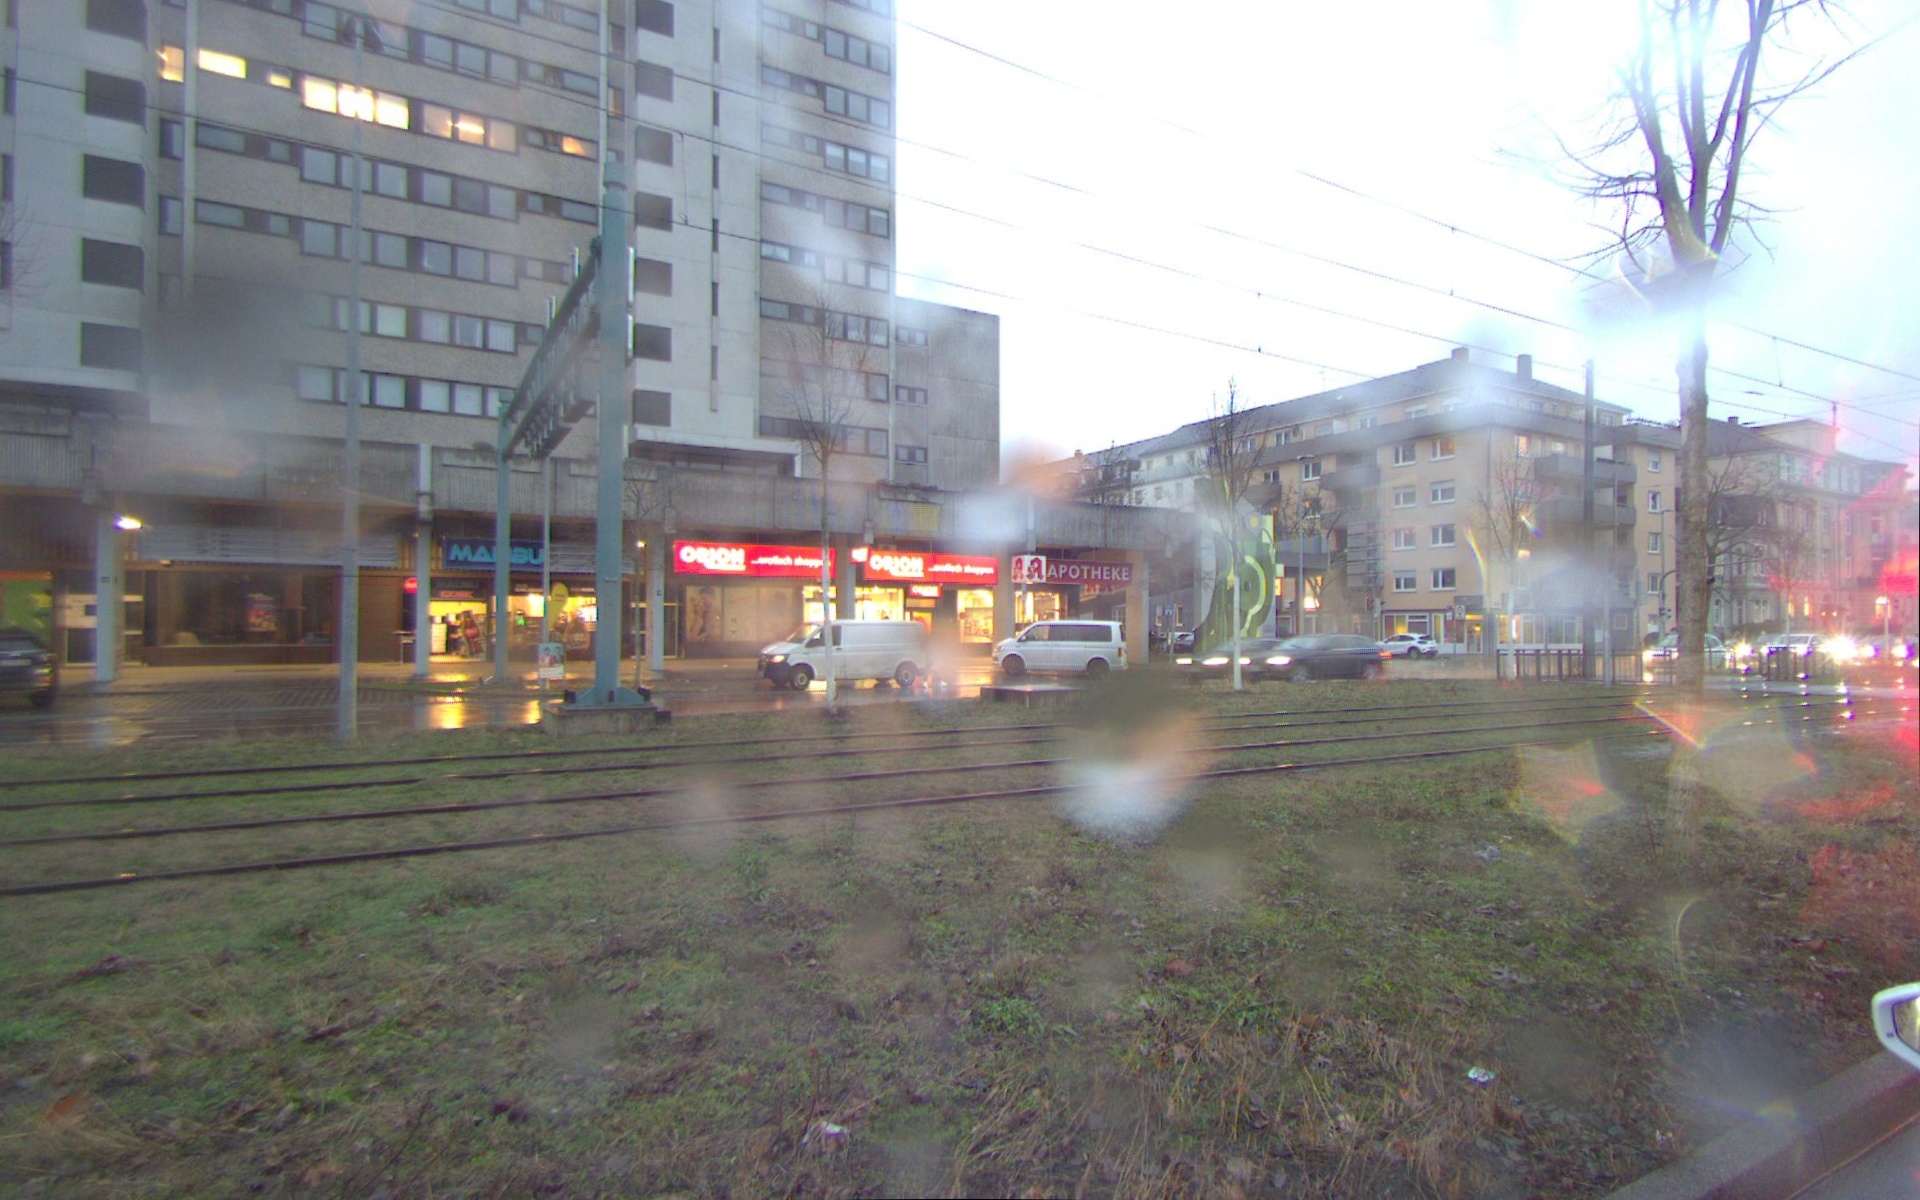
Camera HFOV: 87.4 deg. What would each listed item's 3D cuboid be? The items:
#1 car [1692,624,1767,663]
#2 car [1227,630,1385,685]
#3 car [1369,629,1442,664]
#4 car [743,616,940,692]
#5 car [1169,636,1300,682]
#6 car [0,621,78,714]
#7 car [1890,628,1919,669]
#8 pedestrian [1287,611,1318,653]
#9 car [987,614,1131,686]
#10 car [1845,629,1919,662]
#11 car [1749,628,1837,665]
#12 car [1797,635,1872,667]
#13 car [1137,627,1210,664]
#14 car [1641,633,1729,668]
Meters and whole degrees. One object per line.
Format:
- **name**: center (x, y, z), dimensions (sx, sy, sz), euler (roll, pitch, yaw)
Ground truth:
- **car**: center (43.088, 2.410, 56.264), dimensions (3.953, 2.040, 1.984), euler (2, 0, -31)
- **car**: center (9.705, 1.575, 28.110), dimensions (4.265, 1.350, 1.850), euler (2, 0, -30)
- **car**: center (27.769, 2.897, 62.735), dimensions (1.825, 1.968, 3.720), euler (1, 0, -37)
- **car**: center (-3.511, 1.578, 29.975), dimensions (5.490, 2.073, 1.987), euler (2, 0, -26)
- **car**: center (8.732, 1.834, 31.891), dimensions (3.956, 1.350, 1.849), euler (1, -1, -32)
- **car**: center (-20.781, 1.363, 21.186), dimensions (4.067, 1.715, 1.982), euler (2, 0, 28)
- **car**: center (40.759, 2.024, 41.814), dimensions (3.954, 1.623, 1.983), euler (2, 0, -31)
- **pedestrian**: center (17.111, 1.598, 50.195), dimensions (1.253, 2.040, 1.004), euler (-1, -1, 37)
- **car**: center (3.509, 1.701, 35.429), dimensions (4.734, 2.274, 2.001), euler (2, 0, 15)
- **car**: center (49.722, 2.443, 54.072), dimensions (3.952, 1.623, 1.941), euler (2, 0, -30)
- **car**: center (38.081, 2.111, 45.910), dimensions (3.953, 1.598, 1.858), euler (1, -1, -30)
- **car**: center (48.874, 2.852, 56.141), dimensions (3.952, 1.623, 1.941), euler (2, 0, -30)
- **car**: center (12.383, 2.624, 58.171), dimensions (3.830, 2.040, 1.884), euler (2, 0, -31)
- **car**: center (28.821, 1.985, 39.886), dimensions (4.108, 1.294, 1.679), euler (2, -2, -36)
